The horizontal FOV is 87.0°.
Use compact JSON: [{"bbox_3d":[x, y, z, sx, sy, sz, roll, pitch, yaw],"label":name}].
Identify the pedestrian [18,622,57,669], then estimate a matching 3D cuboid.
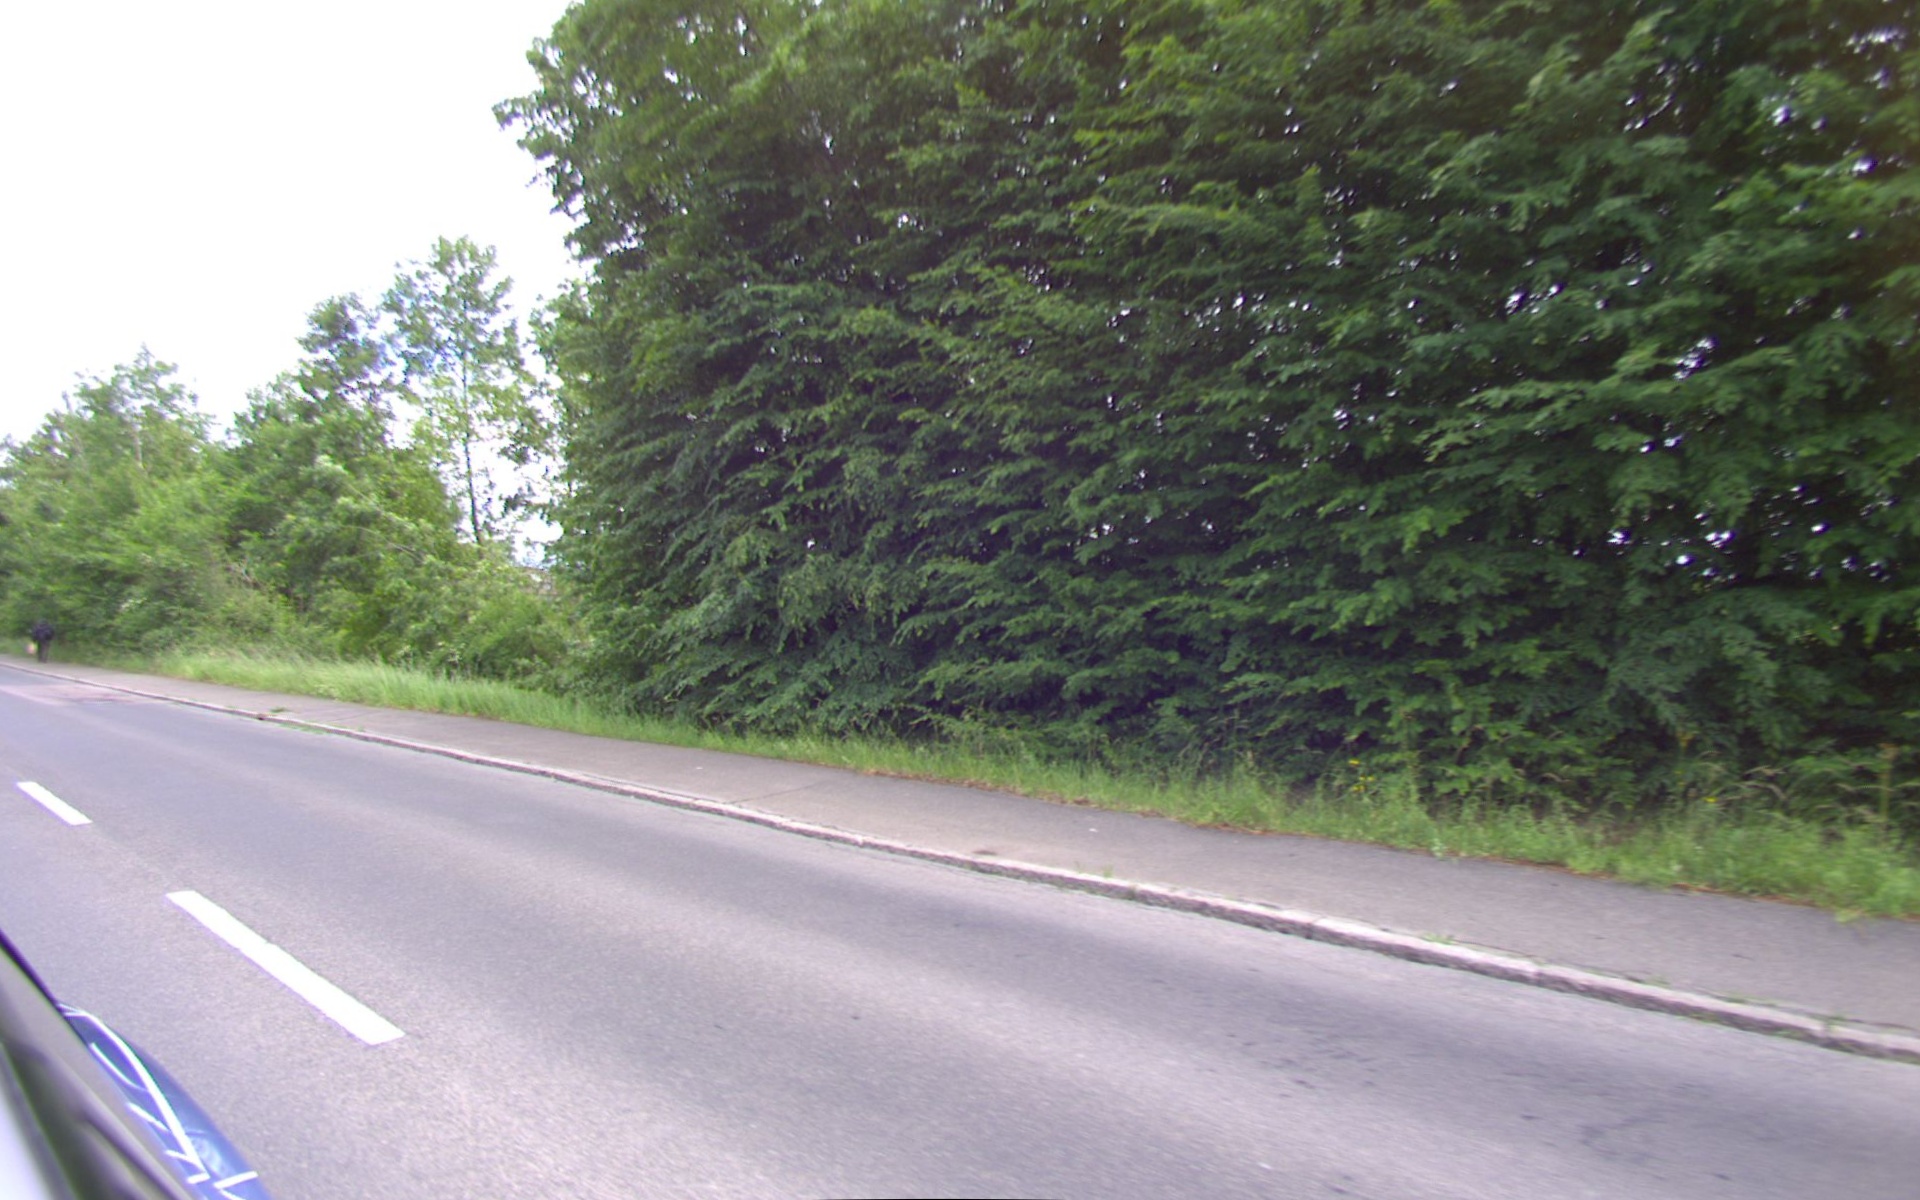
[{"bbox_3d":[-35.235,1.742,38.647,0.788,1.783,0.860,-2,-5,36],"label":"pedestrian"}]
